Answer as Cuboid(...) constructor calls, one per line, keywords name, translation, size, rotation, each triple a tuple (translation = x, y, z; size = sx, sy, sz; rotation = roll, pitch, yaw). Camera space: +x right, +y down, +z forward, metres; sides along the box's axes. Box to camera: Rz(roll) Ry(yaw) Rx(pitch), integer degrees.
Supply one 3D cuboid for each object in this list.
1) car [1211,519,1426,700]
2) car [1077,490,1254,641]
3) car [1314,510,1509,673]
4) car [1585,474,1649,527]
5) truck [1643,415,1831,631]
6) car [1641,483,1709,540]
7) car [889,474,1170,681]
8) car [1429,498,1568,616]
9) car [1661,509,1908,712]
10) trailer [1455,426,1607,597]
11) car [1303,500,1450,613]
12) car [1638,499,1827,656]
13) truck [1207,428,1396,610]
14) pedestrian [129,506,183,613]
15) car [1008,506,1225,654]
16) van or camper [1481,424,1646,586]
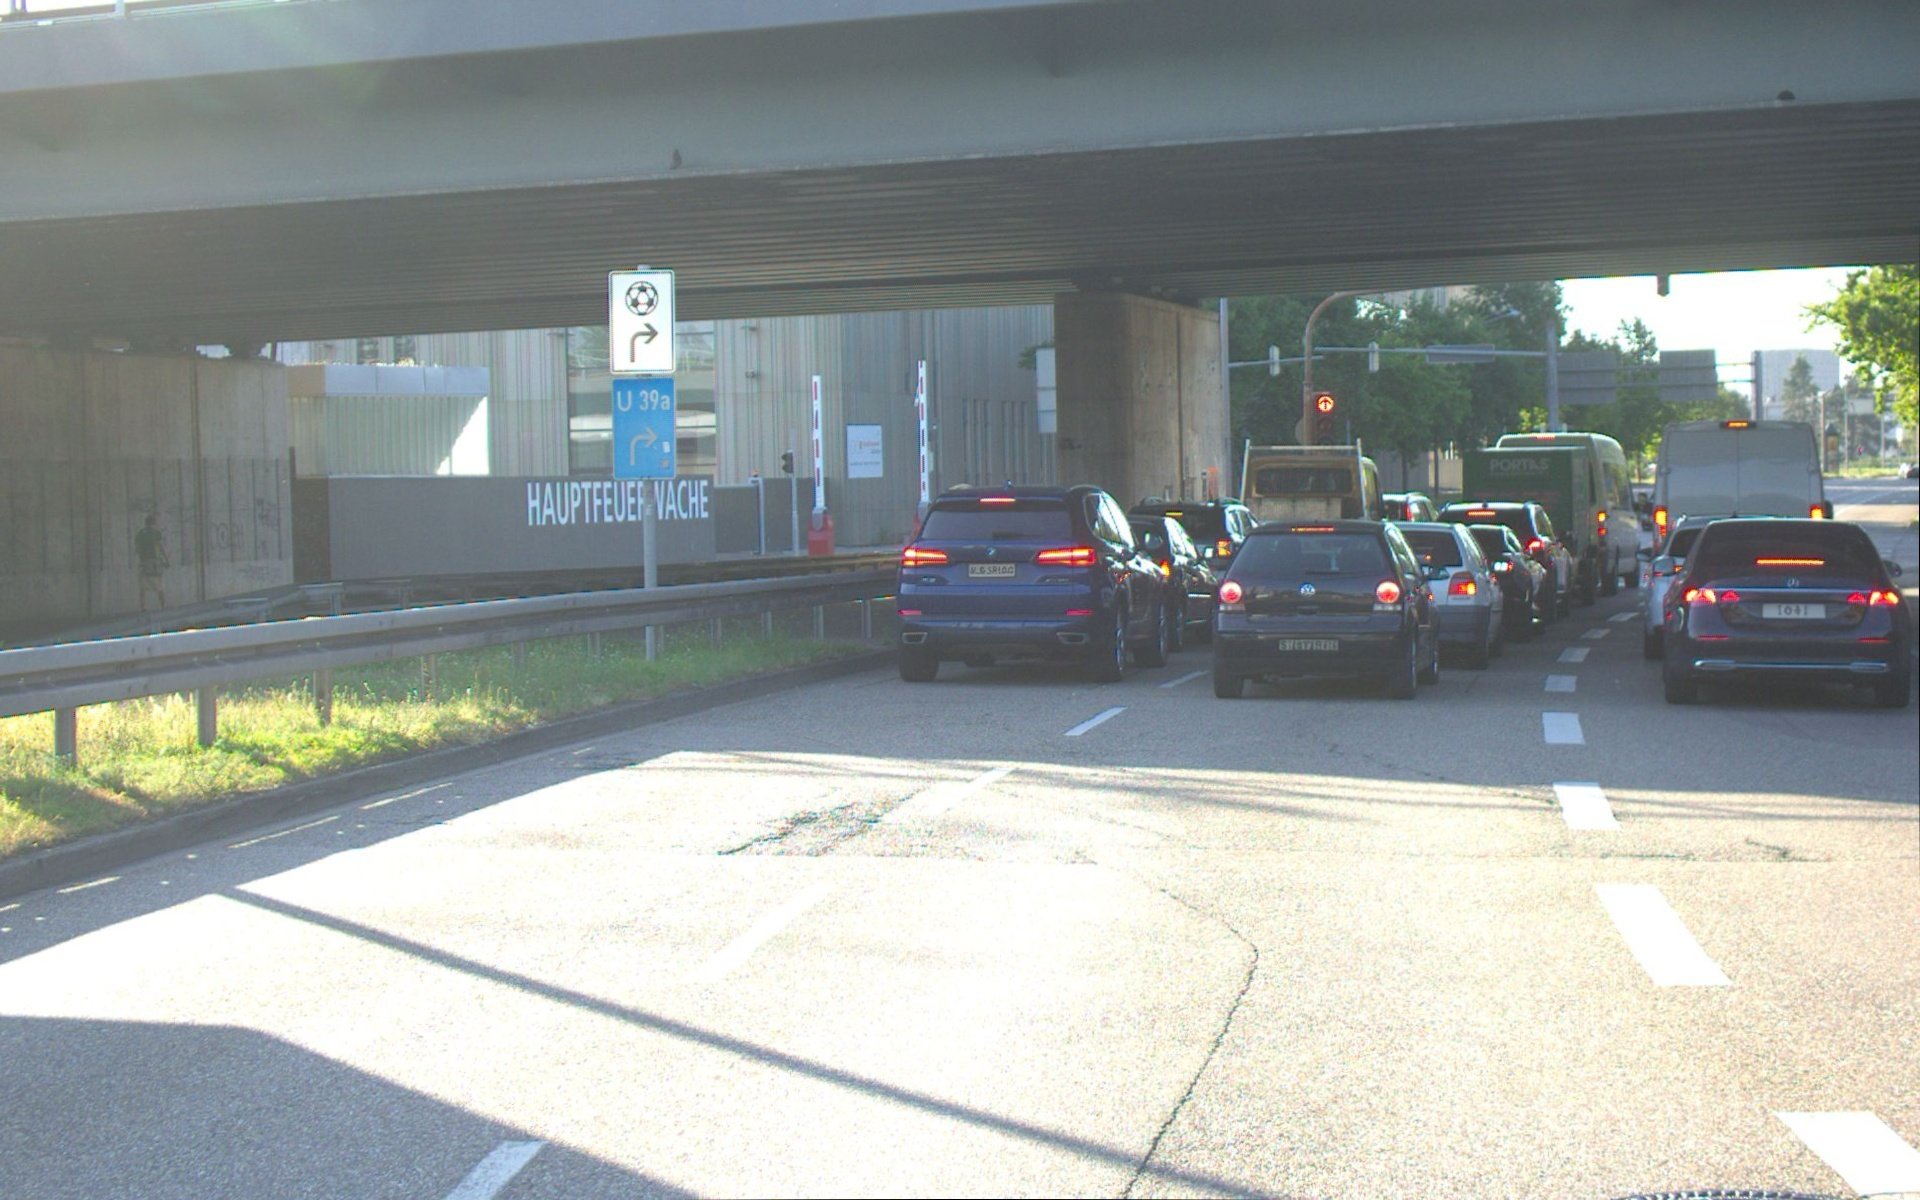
Cuboid(name="car", translation=(3.056, 0.051, 28.765), size=(1.582, 1.404, 3.830), rotation=(0, 1, 9))
Cuboid(name="car", translation=(2.662, -0.445, 43.752), size=(1.842, 1.713, 3.999), rotation=(-4, 0, 8))
Cuboid(name="car", translation=(4.478, -0.115, 33.790), size=(1.548, 1.418, 3.415), rotation=(-4, 1, 12))
Cuboid(name="car", translation=(21.101, -3.178, 110.332), size=(1.801, 1.599, 3.738), rotation=(0, 1, 14))
Cuboid(name="truck", translation=(9.727, -0.949, 43.227), size=(2.112, 2.511, 4.399), rotation=(-2, 1, 12))
Cuboid(name="car", translation=(21.085, -2.598, 101.315), size=(1.801, 1.599, 3.997), rotation=(0, 1, 14))
Cuboid(name="car", translation=(0.719, -0.216, 31.443), size=(1.830, 1.732, 4.459), rotation=(-1, 1, 11))
Cuboid(name="car", translation=(7.318, -0.585, 46.514), size=(1.582, 1.527, 3.830), rotation=(0, 1, 13))
Cuboid(name="car", translation=(6.692, 0.020, 28.271), size=(1.741, 1.449, 4.604), rotation=(0, 2, 11))
Cuboid(name="trailer", translation=(8.744, -1.331, 52.423), size=(1.865, 2.456, 3.829), rotation=(-2, 0, 15))
Cuboid(name="car", translation=(7.280, -0.753, 59.795), size=(1.995, 1.894, 3.997), rotation=(0, 1, 15))
Cuboid(name="car", translation=(8.001, -0.244, 35.621), size=(1.773, 1.490, 3.830), rotation=(-2, 0, 13))
Cuboid(name="truck", translation=(5.162, -1.182, 51.260), size=(2.029, 2.548, 5.534), rotation=(0, 1, 14))
Cuboid(name="pedestrian", translation=(-14.368, -0.725, 61.448), size=(0.694, 1.897, 0.664), rotation=(0, 1, 15))
Cuboid(name="car", translation=(1.779, -0.236, 37.977), size=(1.842, 1.435, 3.674), rotation=(-4, 0, 10))
Cuboid(name="van or camper", translation=(10.207, -1.551, 57.784), size=(1.995, 2.562, 5.913), rotation=(0, 1, 17))
